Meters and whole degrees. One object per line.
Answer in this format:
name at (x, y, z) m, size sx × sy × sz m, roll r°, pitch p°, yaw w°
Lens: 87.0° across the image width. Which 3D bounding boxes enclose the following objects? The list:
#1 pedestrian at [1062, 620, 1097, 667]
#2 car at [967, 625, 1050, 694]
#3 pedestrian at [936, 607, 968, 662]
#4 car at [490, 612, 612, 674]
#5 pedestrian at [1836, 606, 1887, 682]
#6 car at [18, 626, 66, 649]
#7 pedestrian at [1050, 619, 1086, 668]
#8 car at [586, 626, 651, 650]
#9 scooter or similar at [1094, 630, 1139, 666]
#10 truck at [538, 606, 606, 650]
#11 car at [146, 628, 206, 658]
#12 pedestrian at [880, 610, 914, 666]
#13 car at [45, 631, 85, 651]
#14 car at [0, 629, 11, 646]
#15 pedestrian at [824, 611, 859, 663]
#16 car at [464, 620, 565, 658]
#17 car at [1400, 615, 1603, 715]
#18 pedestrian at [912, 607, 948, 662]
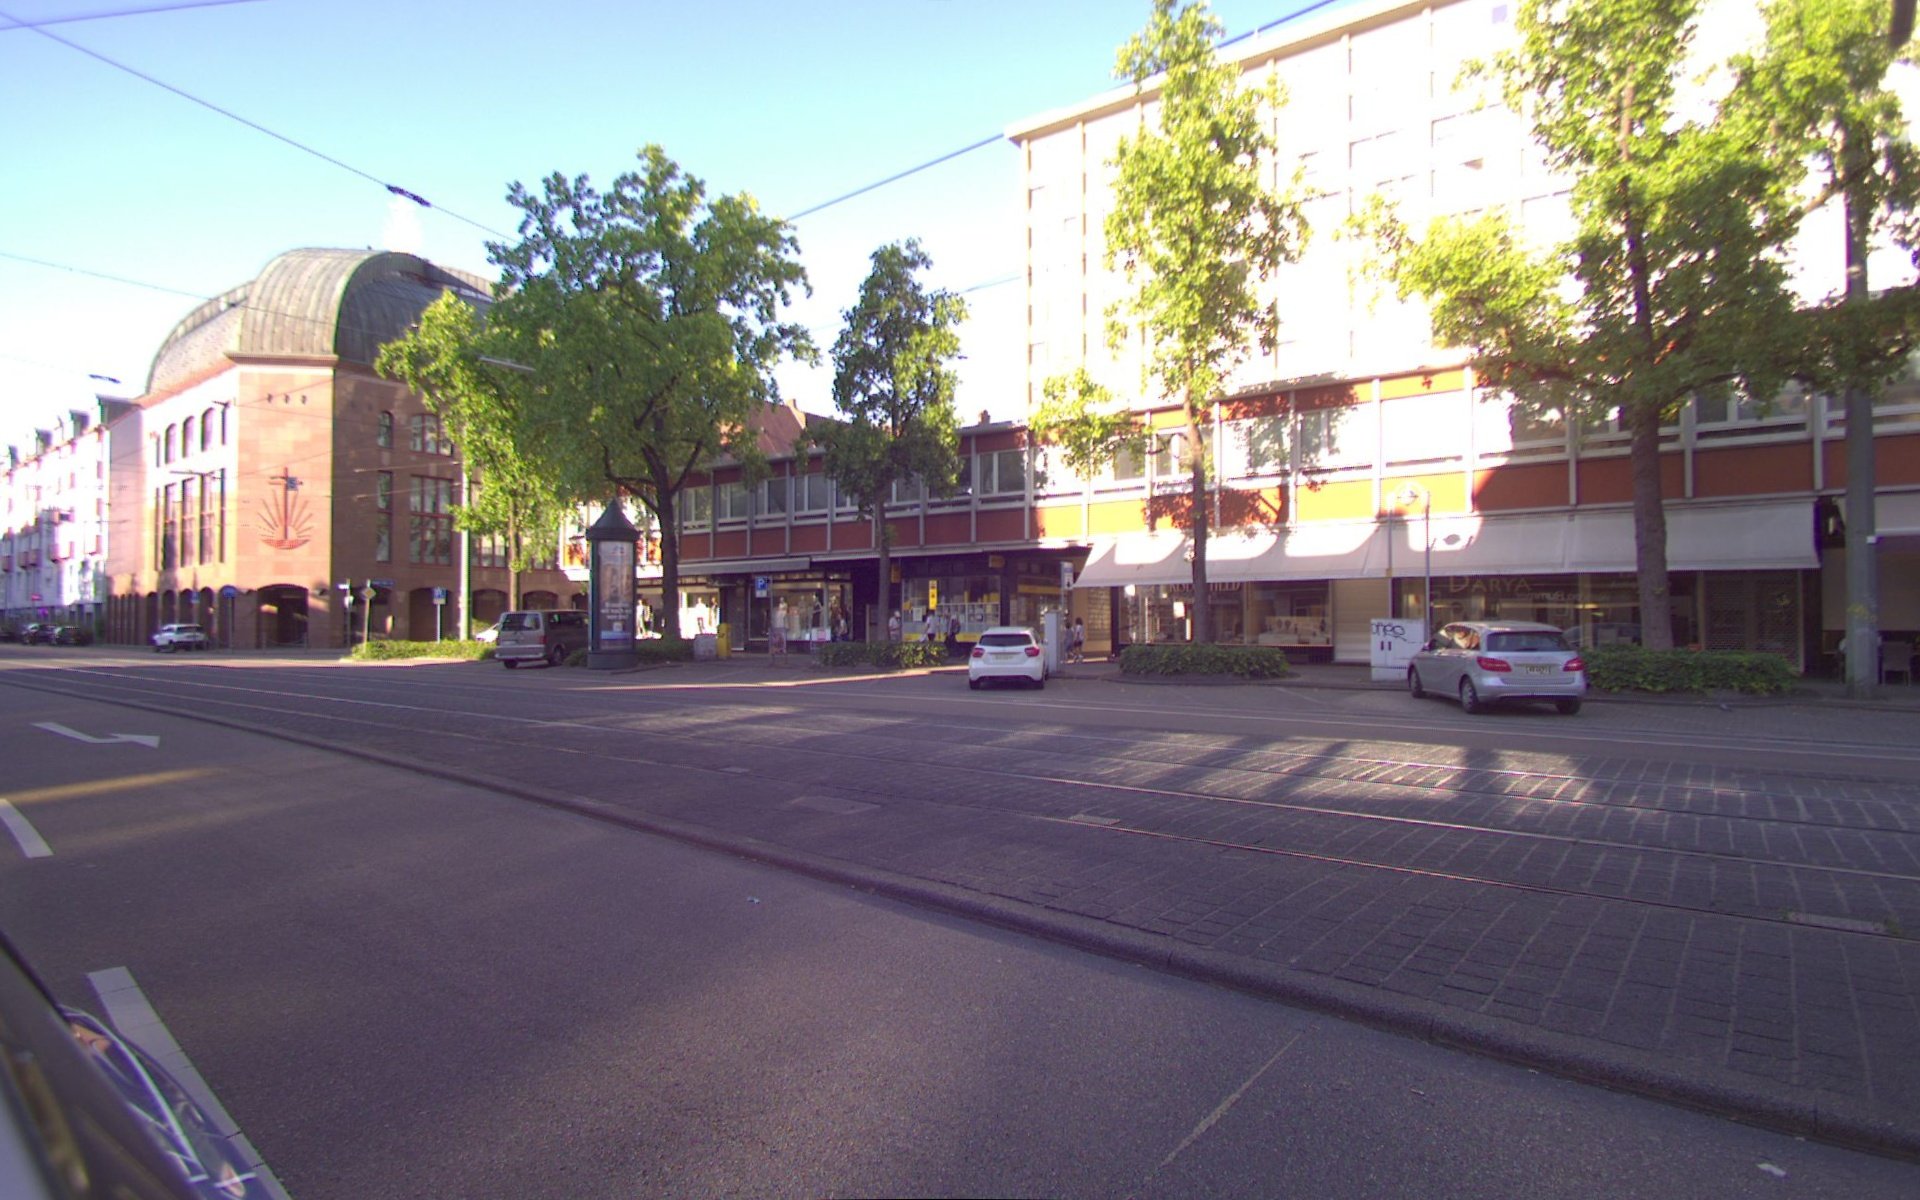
pedestrian at (3.832, 1.382, 32.539) m, size 0.898 × 1.481 × 0.681 m, roll -1°, pitch -2°, yaw 36°
car at (1.287, 1.399, 25.061) m, size 1.745 × 1.440 × 4.261 m, roll -1°, pitch 0°, yaw 7°
pedestrian at (-0.267, 1.215, 35.305) m, size 0.892 × 1.892 × 0.914 m, roll -1°, pitch -2°, yaw 16°
car at (-14.306, 1.431, 35.779) m, size 1.831 × 1.943 × 5.112 m, roll 0°, pitch 0°, yaw 6°
pedestrian at (19.148, 0.928, 21.504) m, size 0.705 × 1.575 × 0.864 m, roll -2°, pitch -2°, yaw 38°
car at (-71.367, 2.867, 78.658) m, size 4.552 × 1.713 × 1.941 m, roll -1°, pitch -1°, yaw 37°
pedestrian at (3.412, 1.369, 31.975) m, size 0.898 × 1.509 × 0.681 m, roll -1°, pitch -2°, yaw 36°
car at (-23.144, 2.536, 68.597) m, size 4.519 × 1.585 × 1.835 m, roll -1°, pitch -2°, yaw 34°
scooter or similar at (4.940, 1.519, 32.033) m, size 1.335 × 1.102 × 0.470 m, roll -1°, pitch -1°, yaw 36°
truck at (-25.220, 1.826, 65.764) m, size 4.519 × 2.784 × 1.835 m, roll -1°, pitch -2°, yaw 34°
car at (-45.020, 2.415, 58.090) m, size 4.269 × 1.602 × 1.581 m, roll -1°, pitch 0°, yaw 36°
pedestrian at (-2.177, 1.292, 34.773) m, size 0.903 × 1.892 × 0.903 m, roll 1°, pitch -2°, yaw -24°
car at (-65.908, 2.984, 74.532) m, size 3.679 × 1.411 × 1.626 m, roll -1°, pitch -1°, yaw 39°
car at (-86.419, 3.342, 90.360) m, size 4.555 × 1.520 × 1.807 m, roll -1°, pitch -1°, yaw 38°
pedestrian at (-4.402, 1.357, 37.559) m, size 0.898 × 1.892 × 0.908 m, roll -1°, pitch -2°, yaw 36°
car at (-25.616, 2.194, 58.370) m, size 2.128 × 1.982 × 4.934 m, roll 2°, pitch 0°, yaw 36°
car at (9.687, 1.081, 18.509) m, size 1.805 × 1.578 × 4.271 m, roll 0°, pitch 0°, yaw 7°
pedestrian at (-1.081, 1.255, 36.824) m, size 0.898 × 1.963 × 0.984 m, roll -1°, pitch -2°, yaw 36°
